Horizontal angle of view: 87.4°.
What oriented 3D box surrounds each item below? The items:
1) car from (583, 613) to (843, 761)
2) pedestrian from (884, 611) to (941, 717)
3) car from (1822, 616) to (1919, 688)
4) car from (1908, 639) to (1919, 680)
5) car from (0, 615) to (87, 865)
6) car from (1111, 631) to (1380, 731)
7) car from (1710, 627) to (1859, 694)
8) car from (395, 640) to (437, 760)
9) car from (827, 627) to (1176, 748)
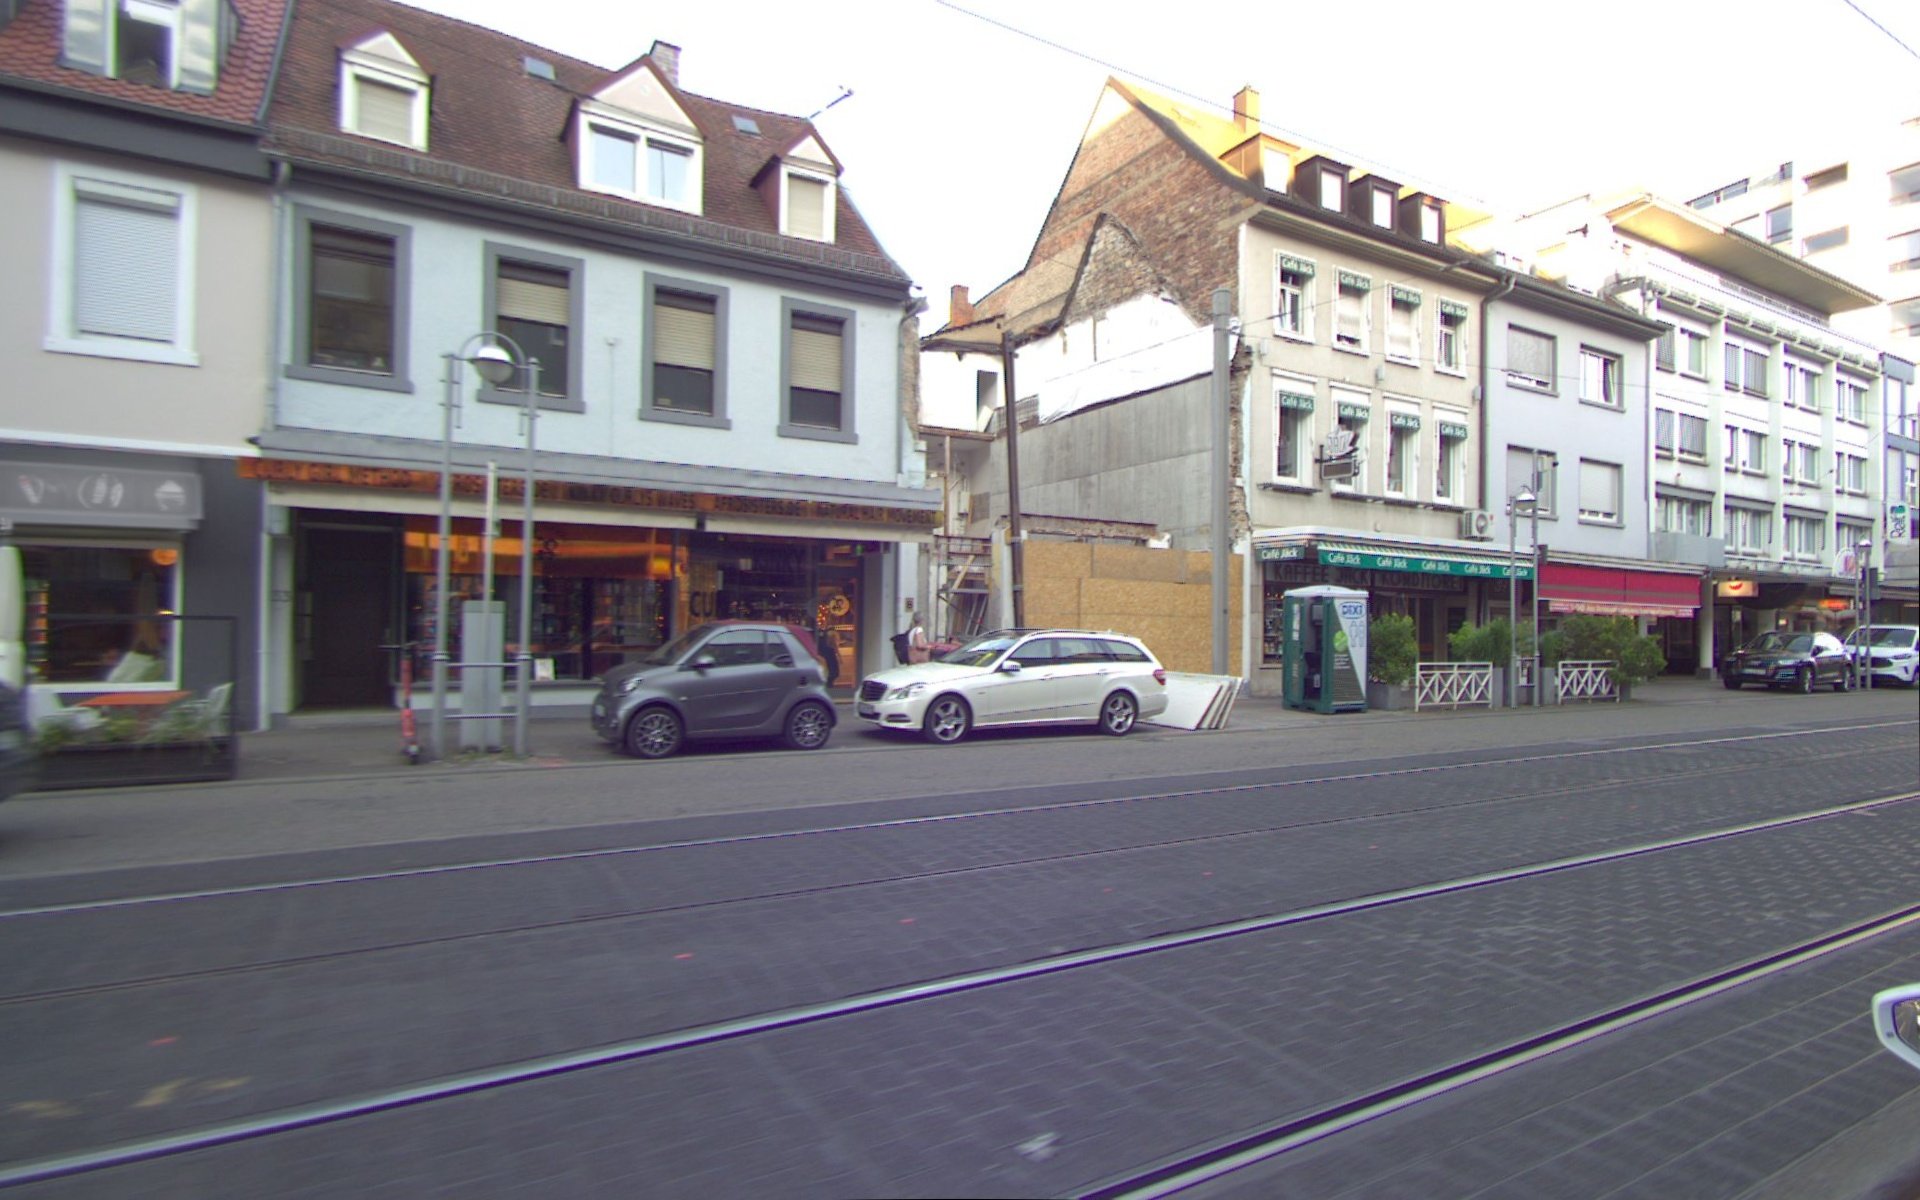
[{"bbox_3d":[-2.992,0.992,12.242,2.764,1.598,1.469,2,-2,-32],"label":"car"},{"bbox_3d":[-0.774,1.027,16.299,0.686,1.666,0.659,1,-1,-30],"label":"pedestrian"},{"bbox_3d":[29.906,1.635,32.292,4.856,2.185,1.983,2,-1,-32],"label":"car"},{"bbox_3d":[36.175,2.163,36.131,4.196,1.454,1.919,2,0,-30],"label":"car"},{"bbox_3d":[-7.906,0.803,5.516,4.415,1.472,1.683,1,-2,-32],"label":"car"},{"bbox_3d":[4.906,1.309,17.165,4.277,1.472,1.985,2,-1,-29],"label":"car"},{"bbox_3d":[23.367,1.678,28.432,4.412,1.700,1.851,2,0,-30],"label":"car"},{"bbox_3d":[-5.944,1.066,10.962,0.336,1.251,0.779,1,-2,-32],"label":"car"},{"bbox_3d":[0.661,1.181,14.656,4.764,1.472,1.985,2,-1,-29],"label":"car"}]
